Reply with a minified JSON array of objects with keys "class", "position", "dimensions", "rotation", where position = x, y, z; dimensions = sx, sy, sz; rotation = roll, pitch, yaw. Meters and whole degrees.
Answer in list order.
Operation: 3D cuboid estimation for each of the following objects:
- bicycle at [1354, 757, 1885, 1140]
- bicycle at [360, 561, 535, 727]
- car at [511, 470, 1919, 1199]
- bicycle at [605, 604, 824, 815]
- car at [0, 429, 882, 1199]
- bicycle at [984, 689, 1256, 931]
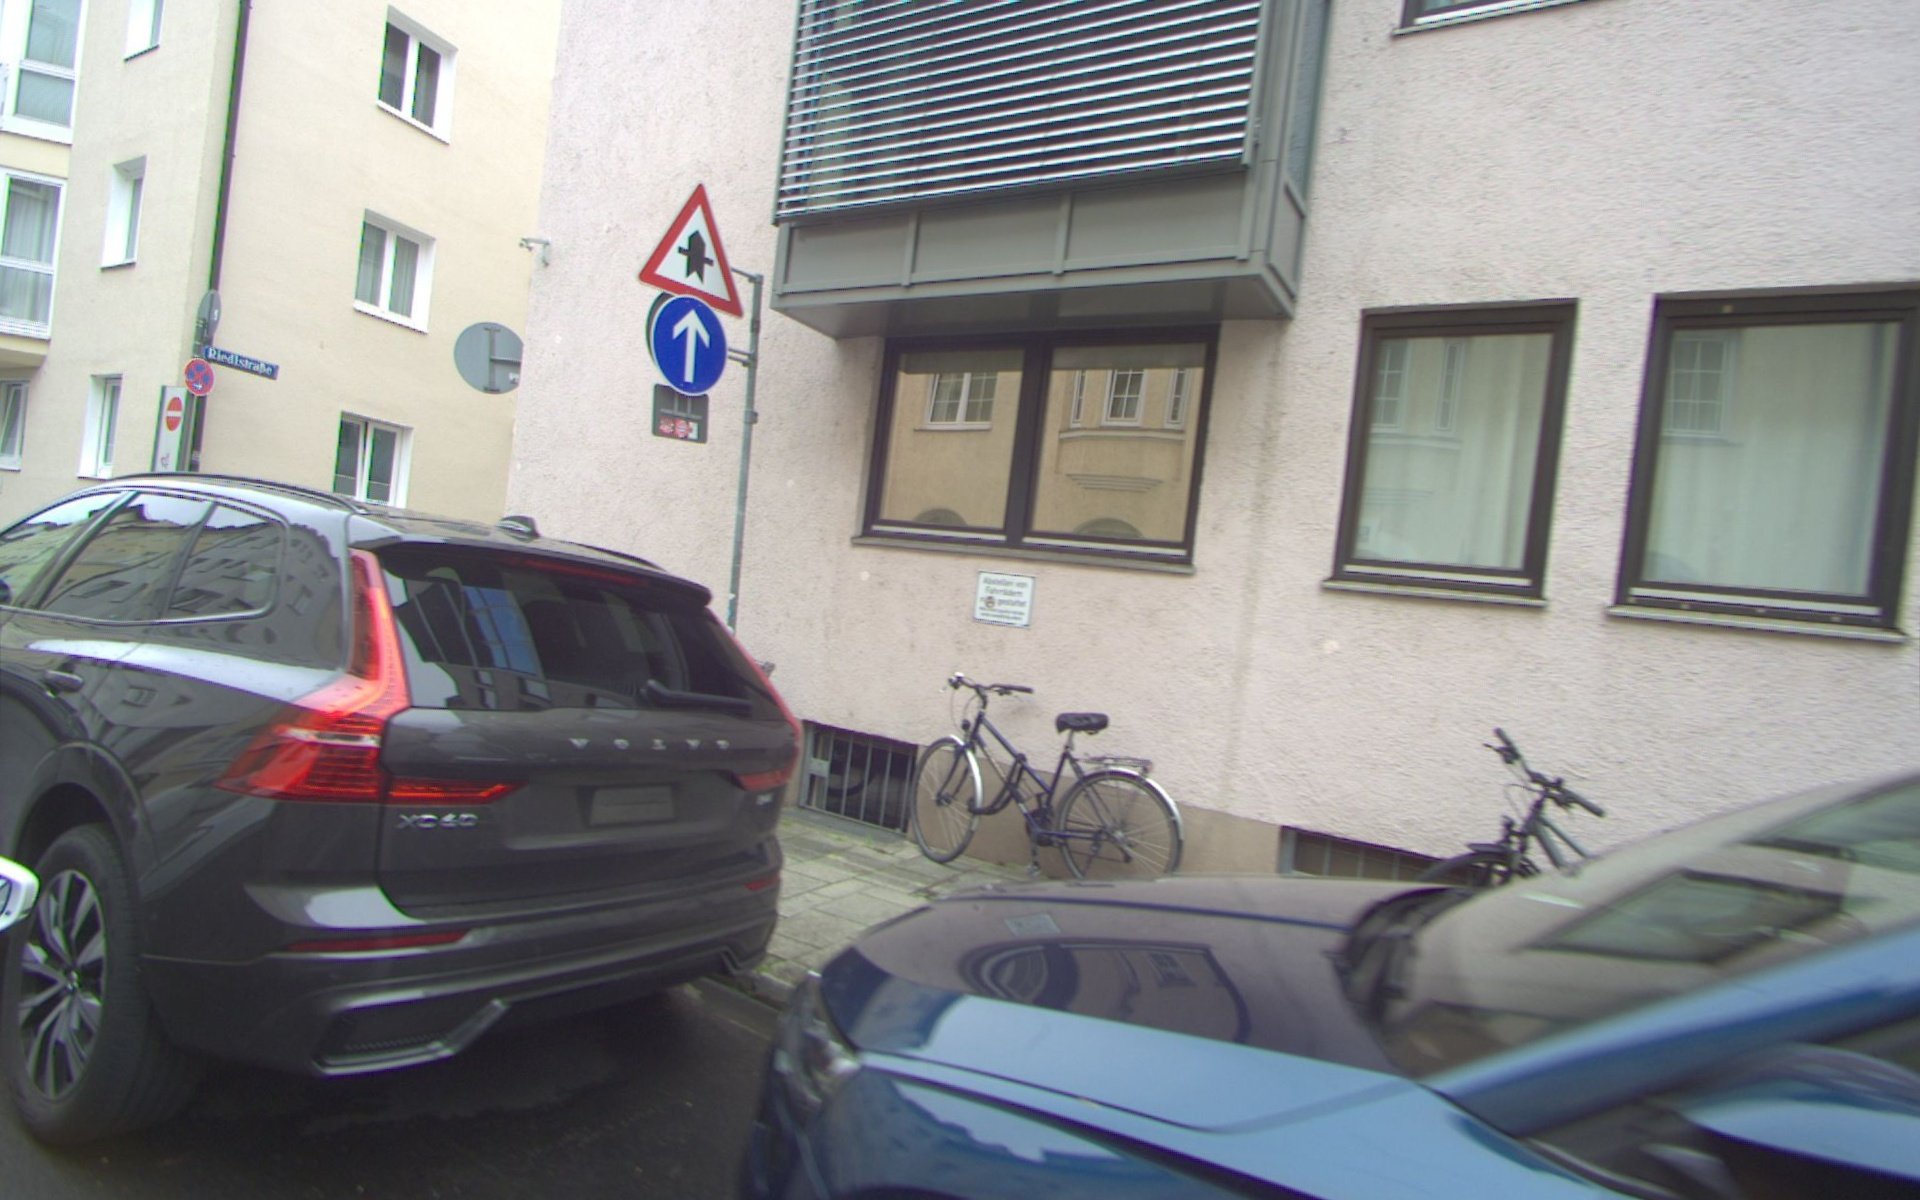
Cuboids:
[{"class":"bicycle","position":[2.448,1.242,3.916],"dimensions":[1.550,0.959,0.441],"rotation":[7,0,33]},{"class":"bicycle","position":[-4.140,0.336,8.105],"dimensions":[1.335,1.139,0.551],"rotation":[7,0,32]},{"class":"car","position":[1.650,0.916,1.140],"dimensions":[4.251,1.640,1.836],"rotation":[6,-2,31]},{"class":"bicycle","position":[-1.663,0.686,6.702],"dimensions":[1.517,1.136,0.357],"rotation":[7,1,32]},{"class":"car","position":[-2.665,0.385,3.814],"dimensions":[4.338,1.640,1.836],"rotation":[6,-2,32]},{"class":"bicycle","position":[0.802,1.028,5.199],"dimensions":[1.248,0.959,0.357],"rotation":[7,1,32]}]
